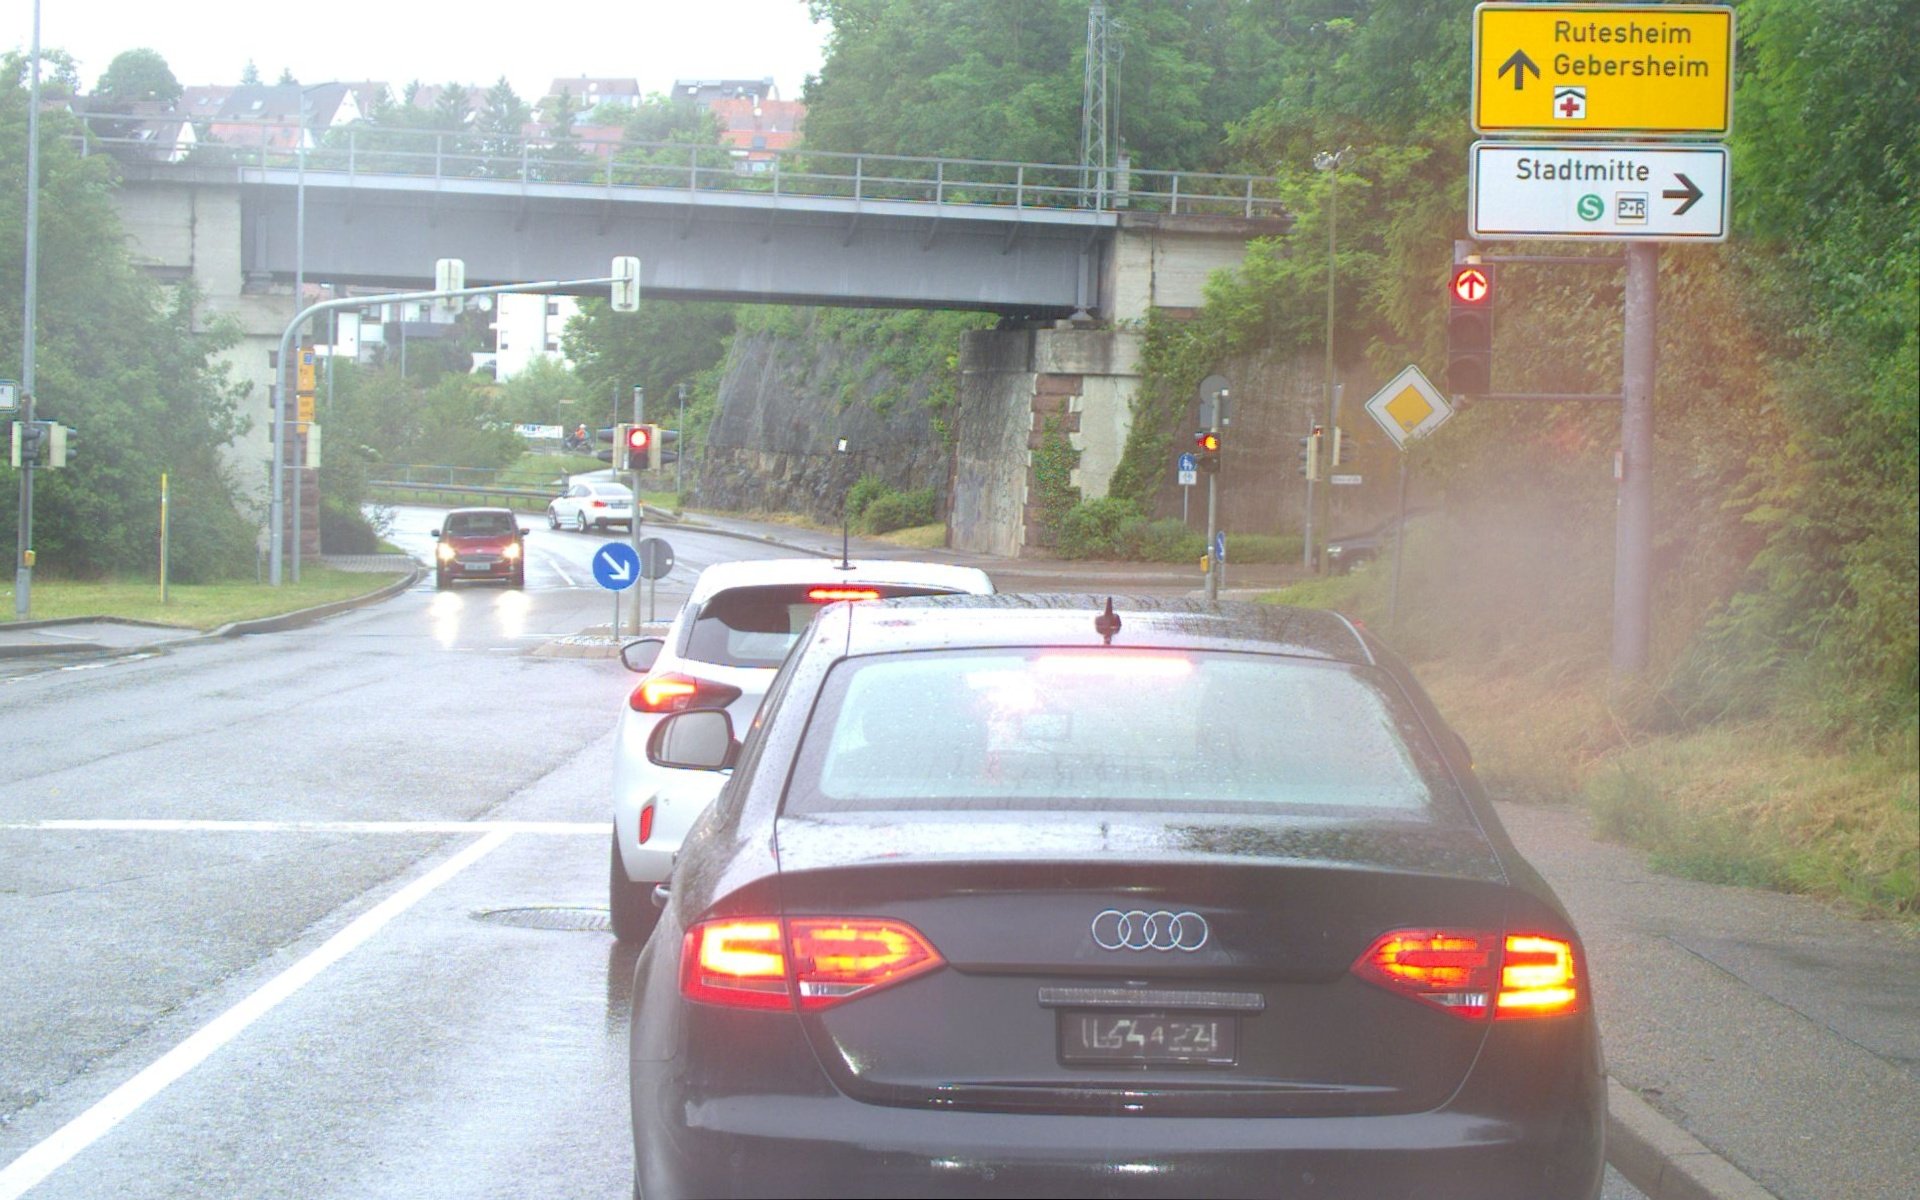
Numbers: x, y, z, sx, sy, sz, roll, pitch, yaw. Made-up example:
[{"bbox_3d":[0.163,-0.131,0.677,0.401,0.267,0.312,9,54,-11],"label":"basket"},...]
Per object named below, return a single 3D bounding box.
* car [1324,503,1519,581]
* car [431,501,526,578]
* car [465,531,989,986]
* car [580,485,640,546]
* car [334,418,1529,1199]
[{"bbox_3d":[9.717,-1.215,72.221,3.988,1.590,1.999,0,1,10],"label":"car"},{"bbox_3d":[-10.460,-1.316,74.887,1.993,1.622,4.001,0,1,-7],"label":"car"},{"bbox_3d":[-0.844,0.558,14.055,1.823,1.579,4.000,0,0,-1],"label":"car"},{"bbox_3d":[-10.774,-2.578,105.753,1.804,1.736,4.481,1,0,-6],"label":"car"},{"bbox_3d":[-0.070,0.529,7.408,1.870,1.611,4.000,0,0,-1],"label":"car"}]
